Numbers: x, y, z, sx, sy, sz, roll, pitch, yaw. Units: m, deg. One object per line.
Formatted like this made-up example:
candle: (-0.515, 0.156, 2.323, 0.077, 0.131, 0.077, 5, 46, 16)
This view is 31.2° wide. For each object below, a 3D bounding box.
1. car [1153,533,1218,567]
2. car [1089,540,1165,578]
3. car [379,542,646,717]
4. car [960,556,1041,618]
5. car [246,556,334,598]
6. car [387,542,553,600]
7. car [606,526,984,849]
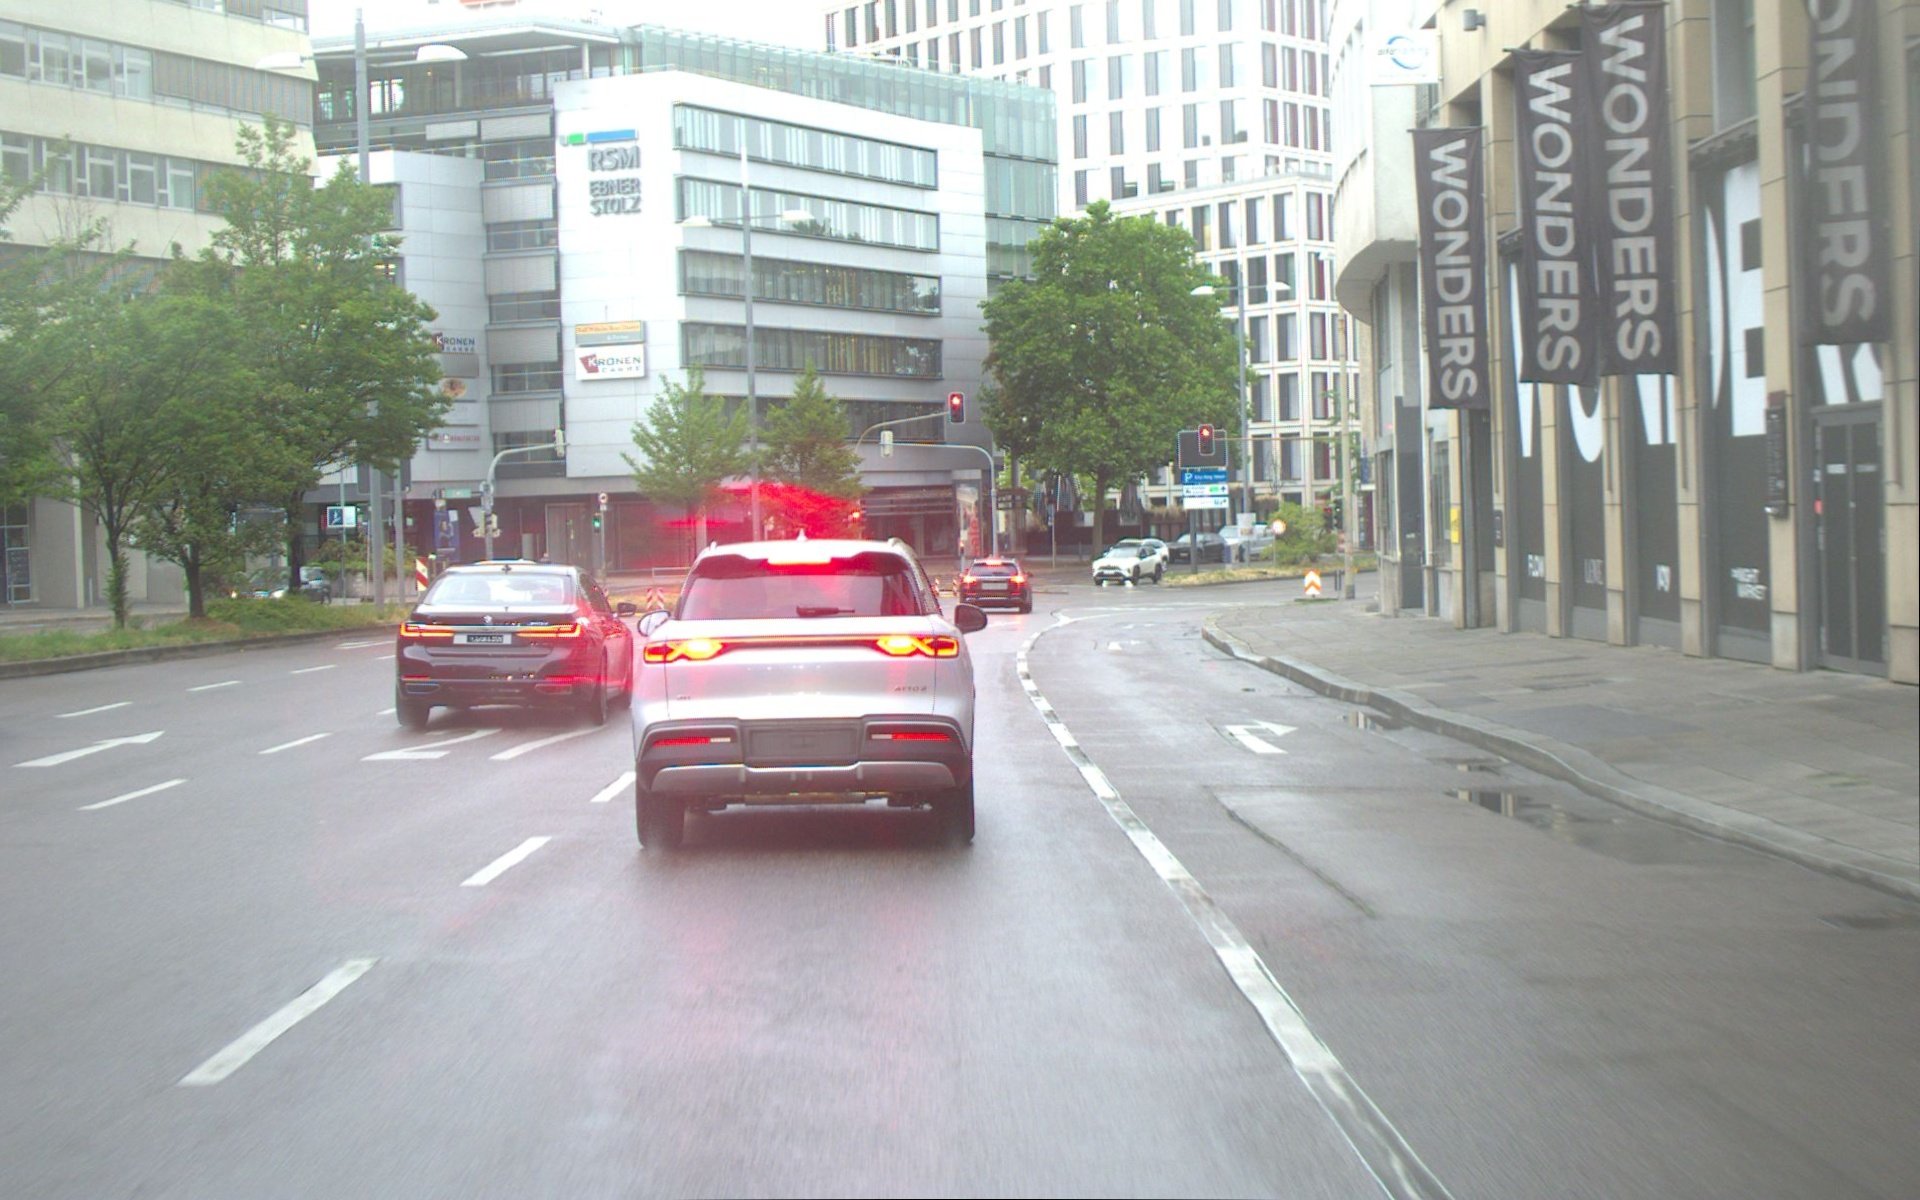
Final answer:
car: (12.016, -2.650, 182.701, 1.860, 1.730, 3.994, 0, 1, 30)
car: (7.202, -1.771, 147.854, 1.583, 1.533, 3.994, 0, 1, 30)
car: (-4.161, 0.219, 32.715, 1.872, 1.474, 4.878, -1, 1, 0)
car: (1.117, -0.359, 92.677, 1.812, 1.573, 3.999, -1, 1, 6)
car: (-18.963, -0.658, 97.455, 1.580, 1.086, 4.000, -1, 1, 1)
car: (-11.878, -0.702, 83.297, 3.996, 1.337, 1.655, 0, 1, 38)
car: (-0.863, 0.416, 19.435, 1.901, 1.616, 4.000, -1, 1, -1)
